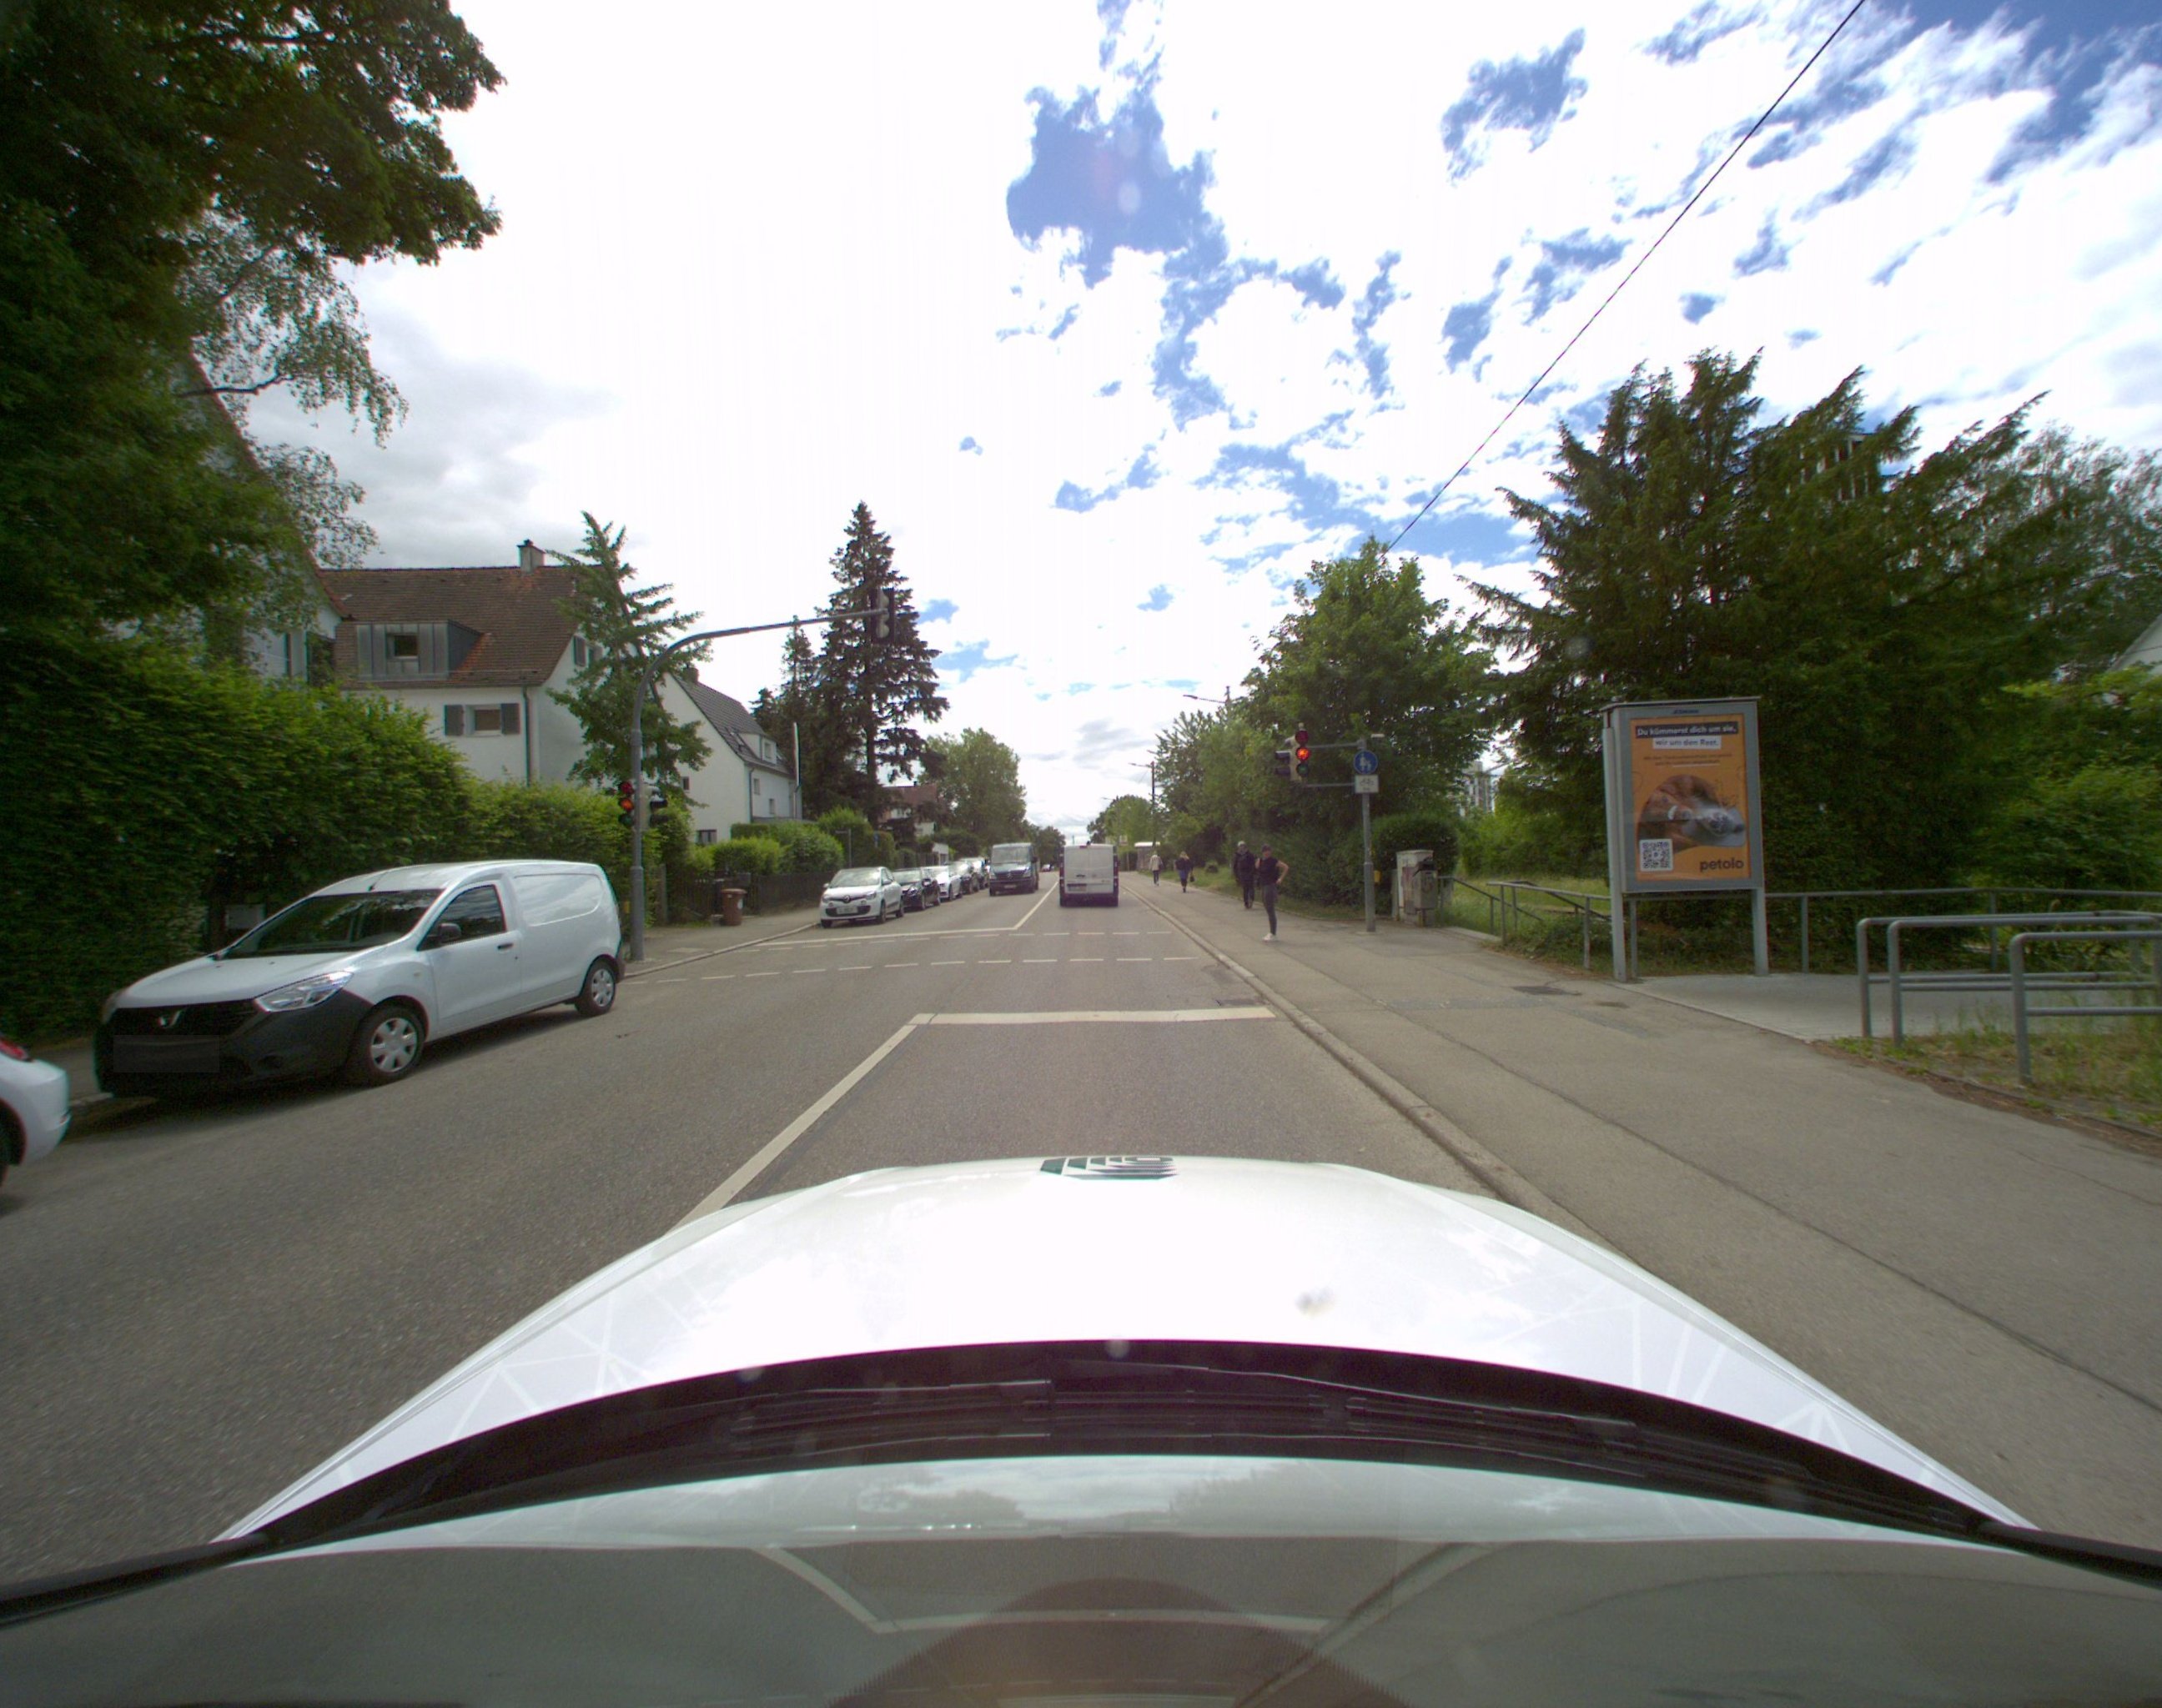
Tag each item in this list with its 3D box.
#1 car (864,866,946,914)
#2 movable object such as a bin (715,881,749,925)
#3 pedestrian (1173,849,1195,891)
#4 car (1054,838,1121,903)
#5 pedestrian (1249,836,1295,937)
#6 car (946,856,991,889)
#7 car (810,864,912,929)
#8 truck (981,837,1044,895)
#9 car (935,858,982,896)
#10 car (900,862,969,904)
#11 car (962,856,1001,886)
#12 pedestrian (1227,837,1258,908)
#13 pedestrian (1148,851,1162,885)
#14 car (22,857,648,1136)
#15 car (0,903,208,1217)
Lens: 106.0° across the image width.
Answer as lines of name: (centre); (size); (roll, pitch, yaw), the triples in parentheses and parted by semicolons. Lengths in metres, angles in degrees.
car: (-6.056, 1.192, 28.492); (1.736, 1.410, 4.324); (-3, 0, 1)
movable object such as a bin: (-9.027, 1.258, 21.100); (0.514, 1.080, 0.749); (1, 0, 1)
pedestrian: (4.122, 0.623, 32.597); (0.836, 1.659, 0.767); (-1, -1, 4)
car: (0.184, 0.524, 27.192); (2.028, 1.945, 4.991); (0, -1, -1)
pedestrian: (3.232, 0.542, 13.827); (0.644, 1.664, 0.709); (-1, -1, 5)
car: (-6.404, 1.031, 46.888); (2.061, 1.754, 4.880); (0, -1, -2)
car: (-6.112, 1.134, 23.059); (1.696, 1.543, 3.744); (-4, 0, 1)
truck: (-3.085, 0.512, 38.333); (2.181, 2.371, 6.905); (-3, 0, 1)
car: (-6.102, 1.087, 41.008); (1.622, 1.678, 4.582); (-4, 0, -1)
car: (-6.078, 1.156, 34.369); (1.799, 1.459, 5.070); (-4, 0, 1)
car: (-6.380, 1.066, 52.918); (1.979, 1.819, 4.705); (-2, 0, -1)
pedestrian: (4.361, 0.497, 22.019); (0.741, 1.883, 0.802); (-1, -1, 6)
pedestrian: (3.567, 0.668, 39.269); (0.683, 1.659, 0.691); (-1, -1, 4)
car: (-6.274, 0.971, 7.820); (1.671, 1.758, 4.606); (-4, 0, 0)
car: (-6.167, 1.087, 2.644); (1.697, 1.453, 4.362); (-5, 0, 4)
